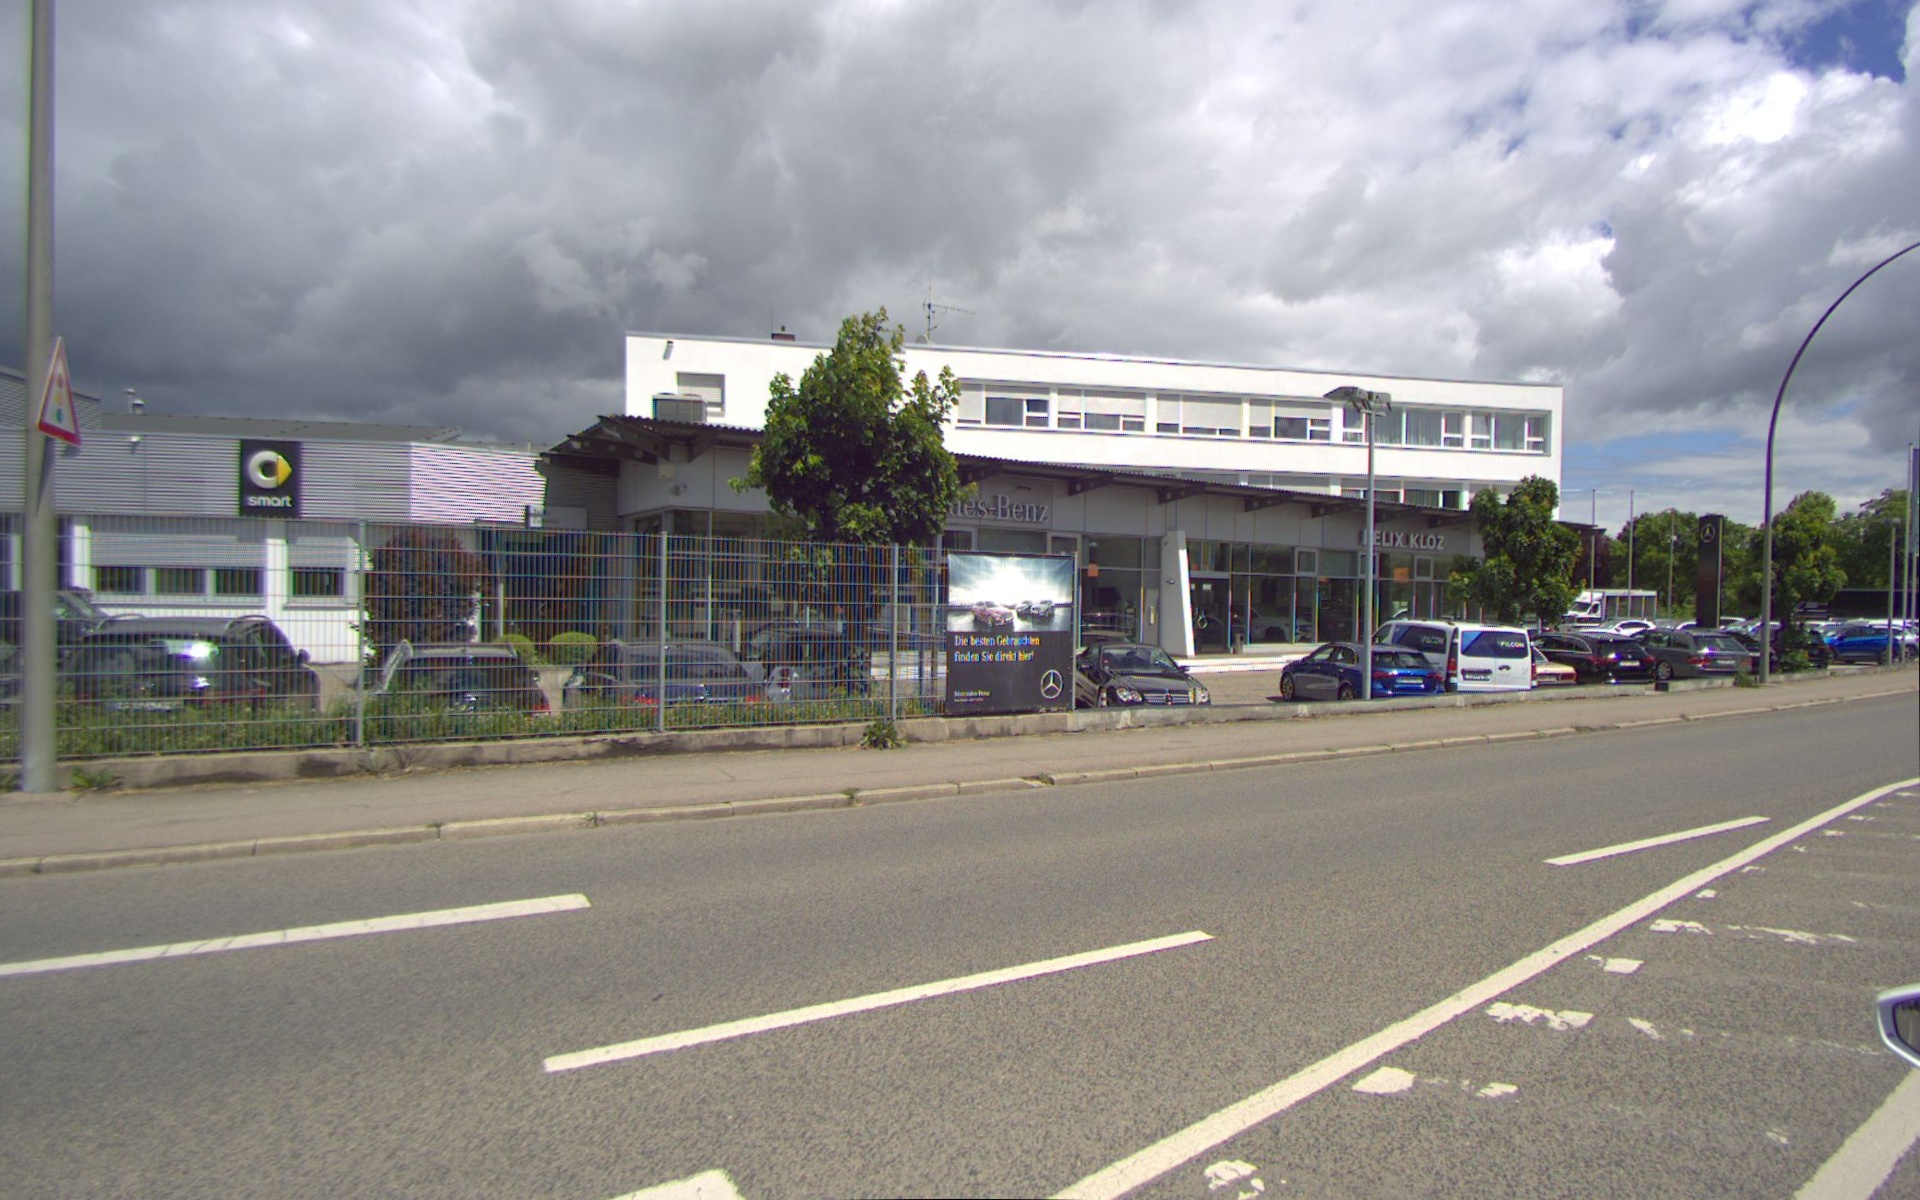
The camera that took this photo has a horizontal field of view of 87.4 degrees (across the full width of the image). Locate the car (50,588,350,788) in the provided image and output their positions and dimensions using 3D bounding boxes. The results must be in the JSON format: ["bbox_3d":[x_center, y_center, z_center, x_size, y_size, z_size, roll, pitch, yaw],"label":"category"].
[{"bbox_3d":[-7.854,0.754,10.808,1.768,1.723,3.883,1,0,-25],"label":"car"}]

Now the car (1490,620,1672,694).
[{"bbox_3d":[15.865,1.395,25.961,1.943,1.623,4.203,1,0,-3],"label":"car"}]

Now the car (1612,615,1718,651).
[{"bbox_3d":[35.400,1.628,50.491,3.922,1.666,1.999,1,0,-3],"label":"car"}]

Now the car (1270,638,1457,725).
[{"bbox_3d":[7.949,1.550,20.261,1.900,1.368,4.203,1,0,-3],"label":"car"}]

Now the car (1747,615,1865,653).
[{"bbox_3d":[40.003,1.588,47.559,3.923,1.675,1.999,1,0,-3],"label":"car"}]

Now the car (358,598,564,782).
[{"bbox_3d":[-5.668,0.858,11.648,1.771,1.687,4.070,1,0,-25],"label":"car"}]

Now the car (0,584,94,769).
[{"bbox_3d":[-10.291,0.697,9.572,2.146,1.723,4.175,1,0,-28],"label":"car"}]

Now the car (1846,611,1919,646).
[{"bbox_3d":[50.109,1.511,53.267,4.230,1.786,1.999,1,0,21],"label":"car"}]

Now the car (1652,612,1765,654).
[{"bbox_3d":[35.643,1.544,47.914,3.922,1.855,1.999,1,0,-3],"label":"car"}]

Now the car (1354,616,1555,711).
[{"bbox_3d":[10.289,1.252,21.301,2.131,1.723,3.985,1,0,-3],"label":"car"}]

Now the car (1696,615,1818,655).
[{"bbox_3d":[35.796,1.551,45.178,3.922,1.653,1.999,1,0,-3],"label":"car"}]

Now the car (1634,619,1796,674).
[{"bbox_3d":[22.865,1.366,30.643,1.628,1.420,4.203,1,0,-3],"label":"car"}]

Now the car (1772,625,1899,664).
[{"bbox_3d":[36.494,1.841,41.927,3.922,1.495,1.630,1,0,-3],"label":"car"}]

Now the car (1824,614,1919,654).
[{"bbox_3d":[44.766,1.641,48.420,4.230,1.786,1.999,1,0,21],"label":"car"}]

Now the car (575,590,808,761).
[{"bbox_3d":[-3.530,0.774,12.588,2.144,1.723,4.179,1,0,-25],"label":"car"}]

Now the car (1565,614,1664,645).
[{"bbox_3d":[34.480,1.541,52.950,3.922,1.474,1.999,1,0,-3],"label":"car"}]

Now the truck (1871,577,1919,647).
[{"bbox_3d":[58.277,0.707,59.518,6.043,4.147,2.814,-1,-1,38],"label":"truck"}]

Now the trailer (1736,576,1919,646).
[{"bbox_3d":[54.389,0.742,62.449,9.597,4.147,2.815,-1,-1,37],"label":"trailer"}]

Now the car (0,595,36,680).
[{"bbox_3d":[-19.976,0.672,18.390,4.025,1.568,1.930,1,0,-21],"label":"car"}]

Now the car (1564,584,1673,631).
[{"bbox_3d":[50.386,0.611,76.842,8.069,3.380,3.191,1,0,-25],"label":"car"}]

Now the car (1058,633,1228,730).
[{"bbox_3d":[3.131,1.380,18.089,1.798,1.368,4.199,1,0,-7],"label":"car"}]

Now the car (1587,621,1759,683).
[{"bbox_3d":[20.140,1.411,28.614,1.761,1.499,4.203,1,0,-3],"label":"car"}]
